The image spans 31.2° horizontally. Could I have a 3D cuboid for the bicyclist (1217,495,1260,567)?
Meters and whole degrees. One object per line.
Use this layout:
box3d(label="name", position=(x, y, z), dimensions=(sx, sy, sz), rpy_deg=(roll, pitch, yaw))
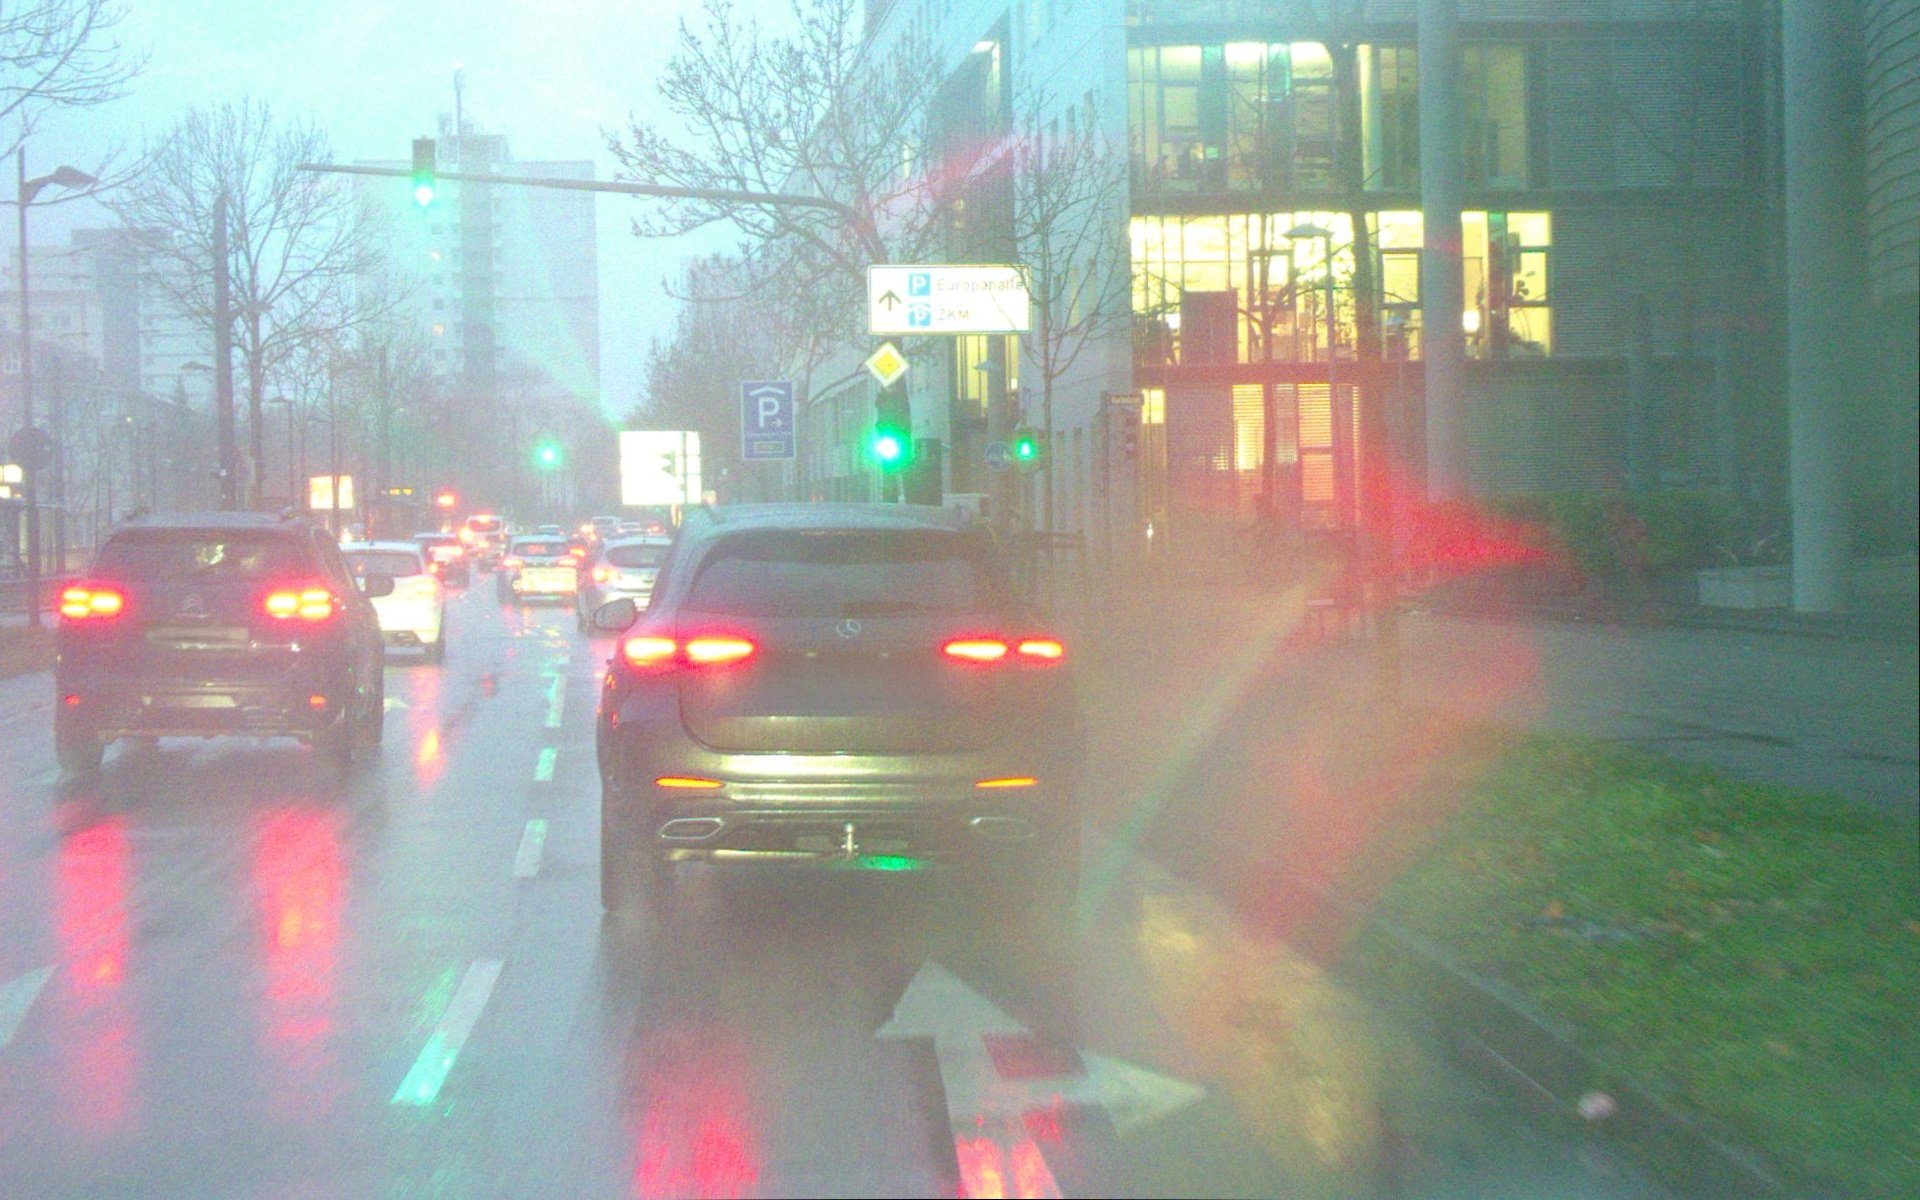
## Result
box3d(label="bicyclist", position=(5.244, -1.300, 64.731), dimensions=(0.622, 1.325, 0.565), rpy_deg=(1, 1, 27))

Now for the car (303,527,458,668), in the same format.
box3d(label="car", position=(-7.074, -0.063, 42.188), dimensions=(1.689, 1.629, 3.474), rpy_deg=(0, 1, -7))

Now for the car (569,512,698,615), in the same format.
box3d(label="car", position=(-5.057, -0.599, 53.657), dimensions=(1.867, 1.537, 3.611), rpy_deg=(1, 1, -3))

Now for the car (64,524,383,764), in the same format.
box3d(label="car", position=(-4.825, 0.230, 22.978), dimensions=(1.817, 1.445, 4.001), rpy_deg=(0, 1, -8))

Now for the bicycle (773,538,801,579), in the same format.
box3d(label="bicycle", position=(-4.170, -1.009, 82.806), dimensions=(0.544, 0.962, 1.346), rpy_deg=(0, 1, -9))

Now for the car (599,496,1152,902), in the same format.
box3d(label="car", position=(-0.495, 0.332, 14.485), dimensions=(1.993, 1.478, 3.701), rpy_deg=(0, 1, -7))

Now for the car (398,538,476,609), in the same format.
box3d(label="car", position=(-15.446, -0.793, 101.711), dimensions=(1.993, 2.007, 4.001), rpy_deg=(0, 1, -5))

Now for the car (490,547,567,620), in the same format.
box3d(label="car", position=(-9.472, -0.381, 75.613), dimensions=(1.614, 1.516, 3.409), rpy_deg=(0, 1, -6))

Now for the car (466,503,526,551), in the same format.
box3d(label="car", position=(-16.953, -2.672, 125.741), dimensions=(1.993, 1.709, 3.424), rpy_deg=(0, 1, -5))

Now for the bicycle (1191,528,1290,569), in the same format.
box3d(label="bicycle", position=(5.280, -0.973, 64.701), dimensions=(1.731, 0.743, 0.650), rpy_deg=(1, 1, 28))
